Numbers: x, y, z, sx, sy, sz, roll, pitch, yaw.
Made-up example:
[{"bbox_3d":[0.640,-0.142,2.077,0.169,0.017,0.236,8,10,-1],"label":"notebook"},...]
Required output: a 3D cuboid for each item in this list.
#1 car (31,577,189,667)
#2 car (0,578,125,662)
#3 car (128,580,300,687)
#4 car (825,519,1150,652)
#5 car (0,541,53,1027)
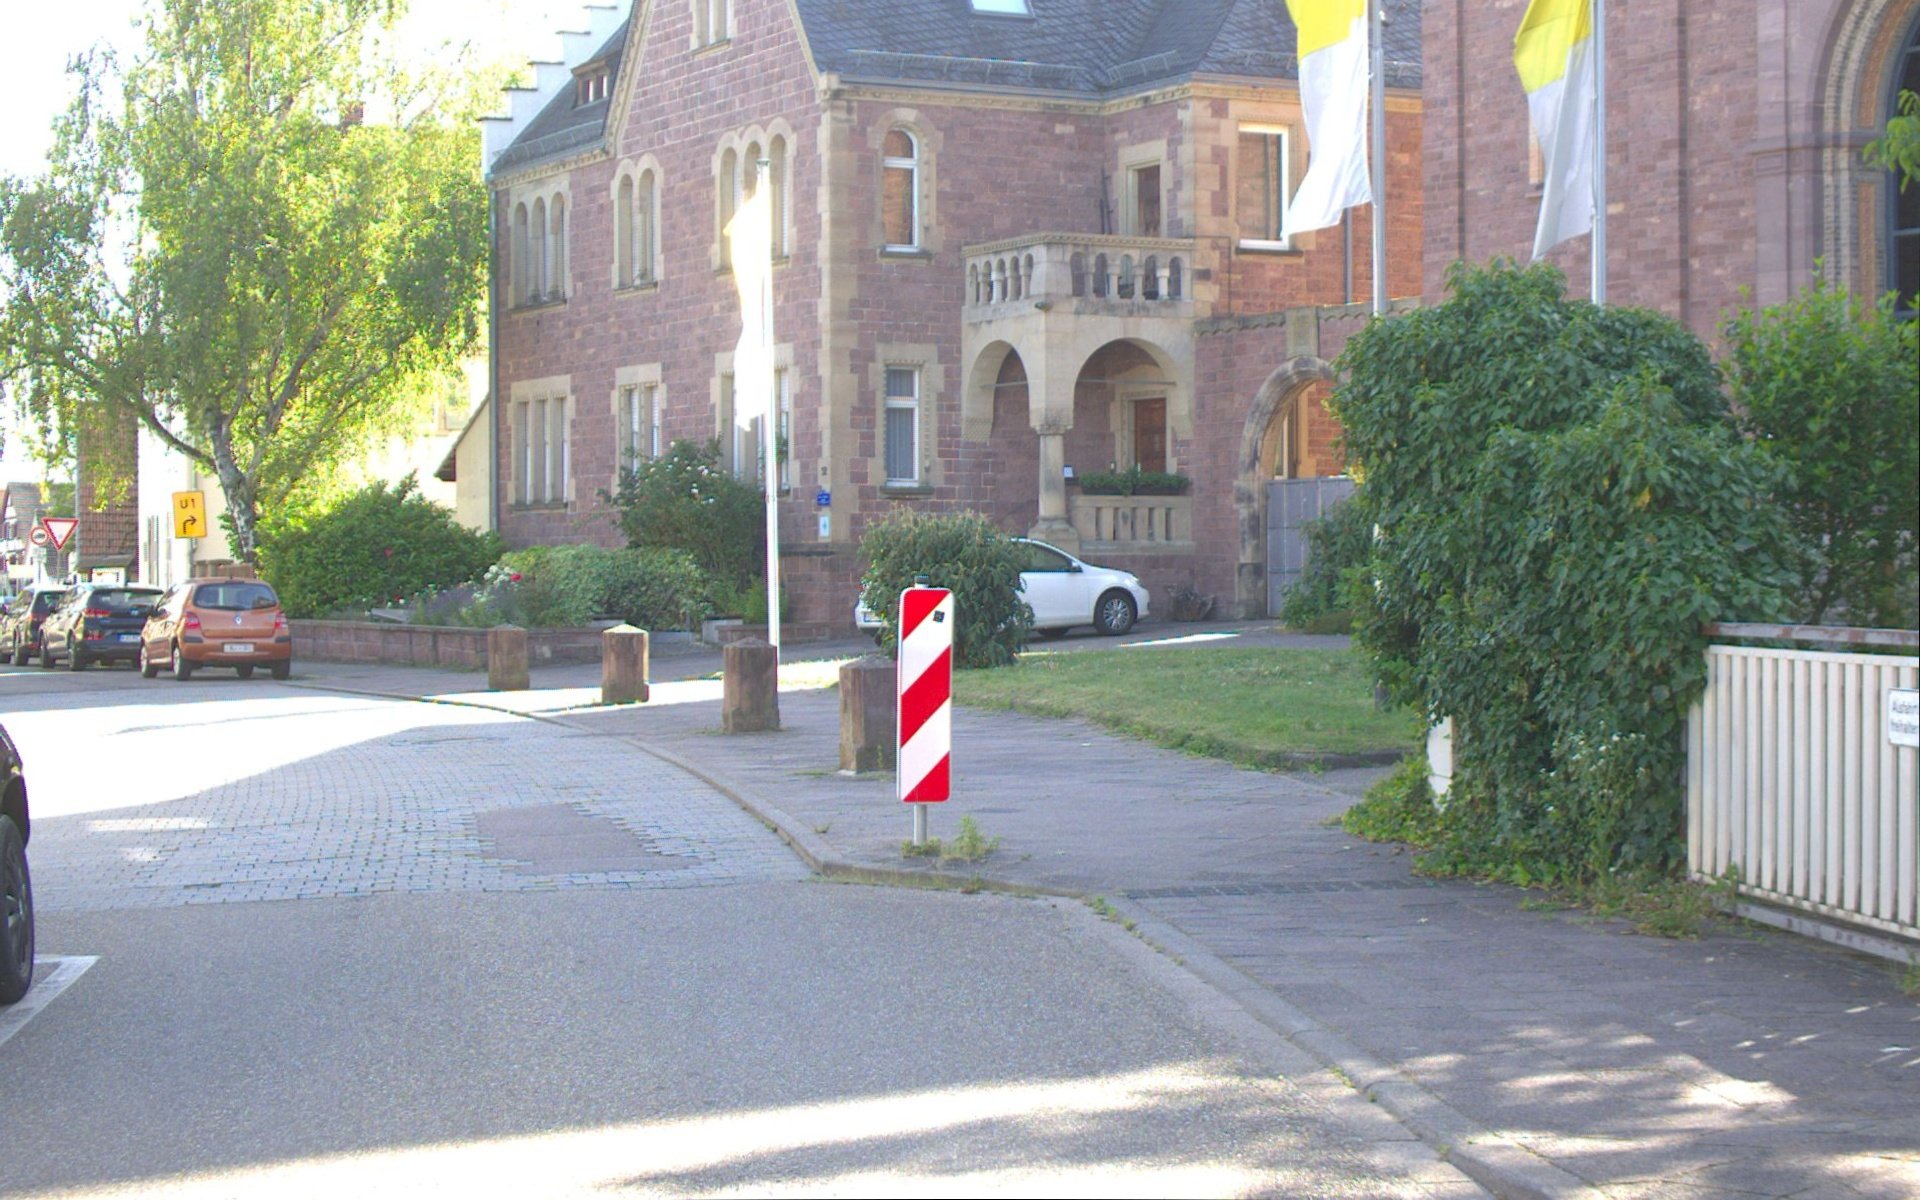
[{"bbox_3d":[-14.392,0.338,58.052,1.807,1.431,4.286,0,1,-25],"label":"car"},{"bbox_3d":[-16.342,0.337,62.365,1.807,1.431,4.287,0,1,-21],"label":"car"},{"bbox_3d":[-10.954,0.455,50.321,1.648,1.474,3.934,0,1,-25],"label":"car"},{"bbox_3d":[0.383,-0.196,46.694,3.898,1.491,1.904,-5,1,-30],"label":"car"},{"bbox_3d":[-4.116,0.685,10.650,1.832,1.665,4.353,-4,1,-7],"label":"car"}]
